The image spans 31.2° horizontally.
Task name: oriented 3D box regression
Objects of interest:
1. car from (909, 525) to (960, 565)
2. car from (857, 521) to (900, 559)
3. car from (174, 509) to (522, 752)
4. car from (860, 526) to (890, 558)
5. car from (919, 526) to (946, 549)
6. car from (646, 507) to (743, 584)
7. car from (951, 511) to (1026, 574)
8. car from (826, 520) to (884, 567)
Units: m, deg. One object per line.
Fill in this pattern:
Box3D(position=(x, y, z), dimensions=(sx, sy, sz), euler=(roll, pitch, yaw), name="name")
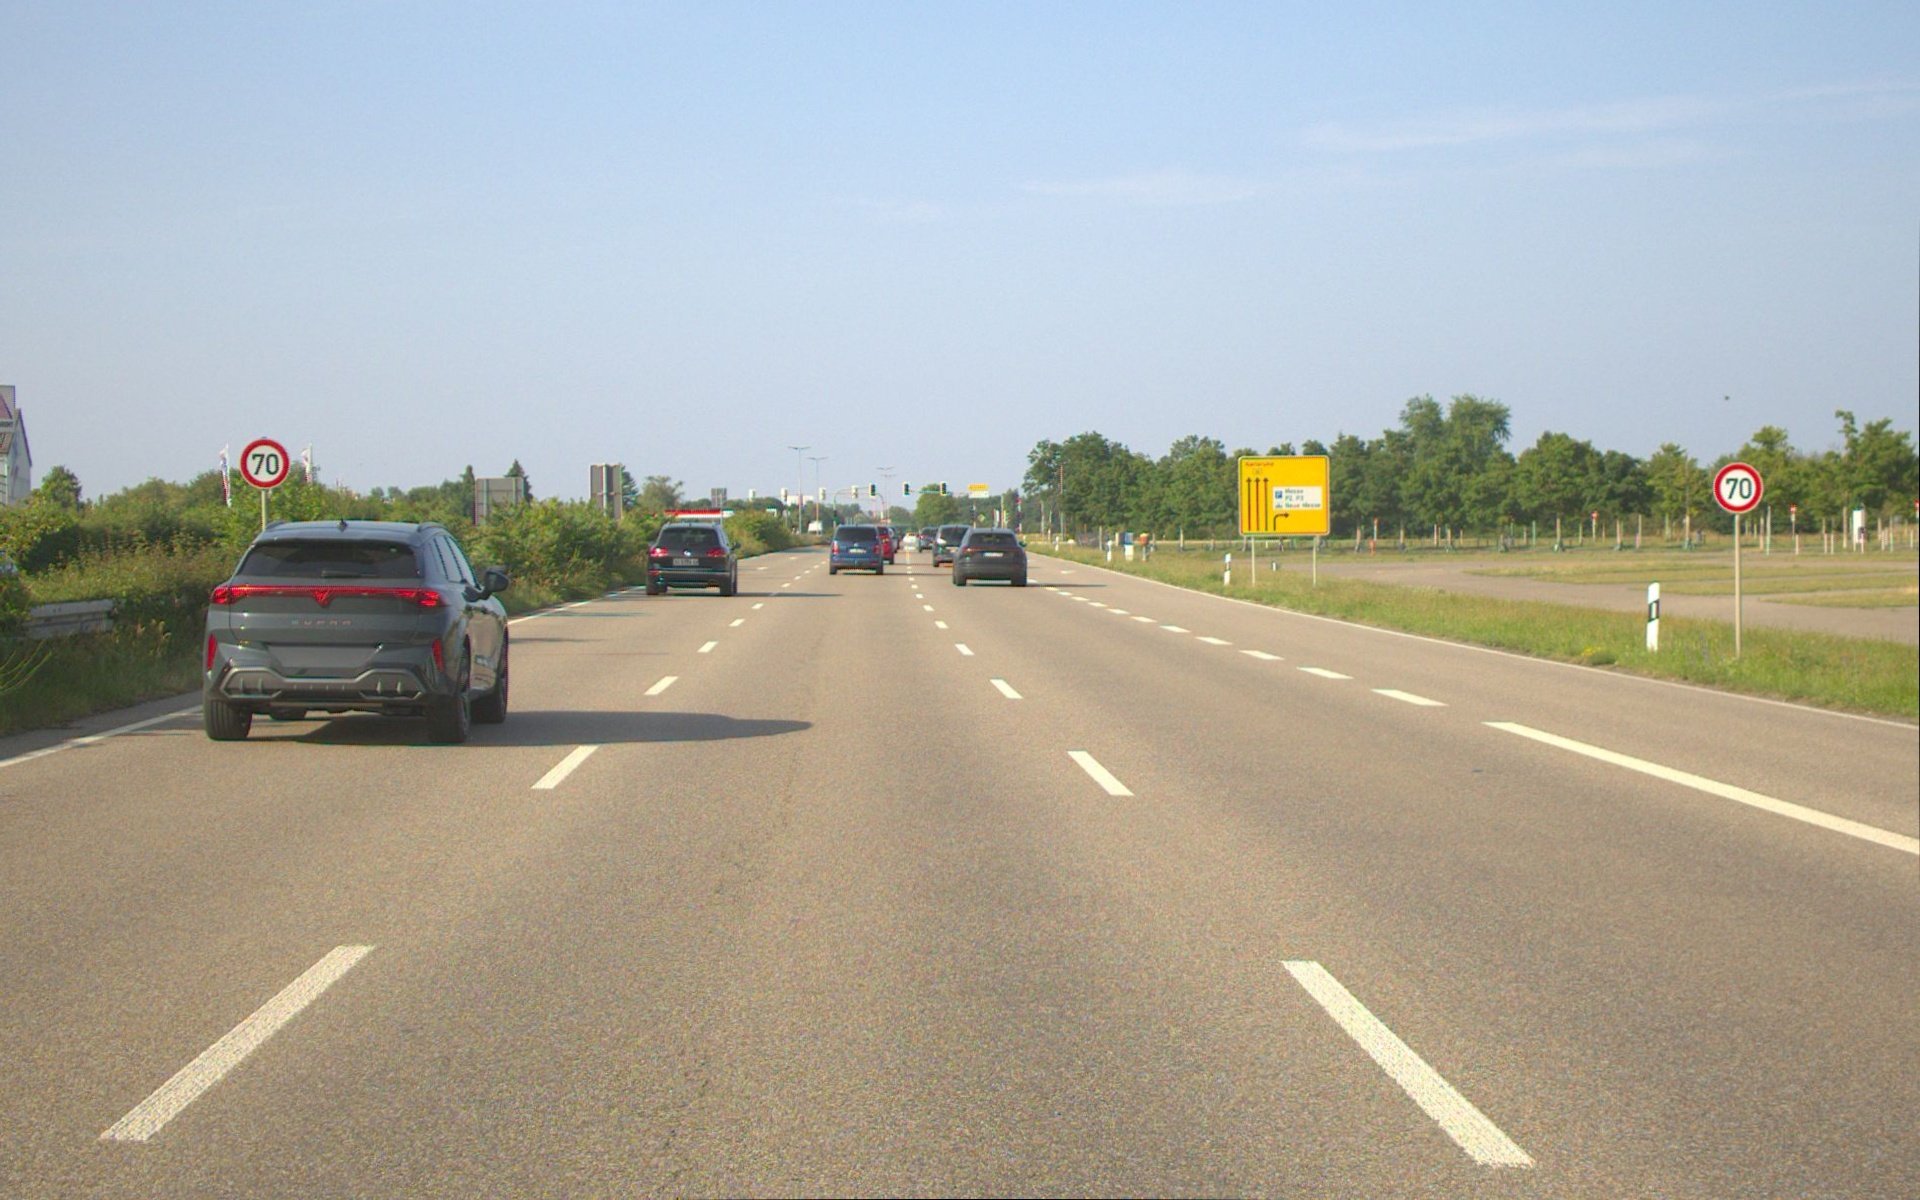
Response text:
Box3D(position=(-1.010, -2.125, 133.097), dimensions=(1.873, 1.458, 3.981), euler=(2, 1, -1), name="car")
Box3D(position=(-3.274, -2.441, 138.405), dimensions=(1.647, 1.458, 3.981), euler=(2, 1, -1), name="car")
Box3D(position=(-4.477, 0.162, 25.771), dimensions=(1.845, 1.606, 4.401), euler=(2, 1, -1), name="car")
Box3D(position=(-4.819, -3.268, 194.168), dimensions=(1.645, 1.722, 3.401), euler=(1, 0, -1), name="car")
Box3D(position=(-1.625, -3.672, 202.679), dimensions=(1.503, 1.309, 3.156), euler=(2, 1, -1), name="car")
Box3D(position=(-6.133, -1.282, 79.890), dimensions=(1.932, 1.674, 4.401), euler=(2, 1, -1), name="car")
Box3D(position=(0.778, -1.639, 96.601), dimensions=(1.932, 1.674, 4.401), euler=(2, 1, -1), name="car")
Box3D(position=(-3.461, -1.888, 113.680), dimensions=(1.812, 1.458, 4.401), euler=(2, 1, -1), name="car")
